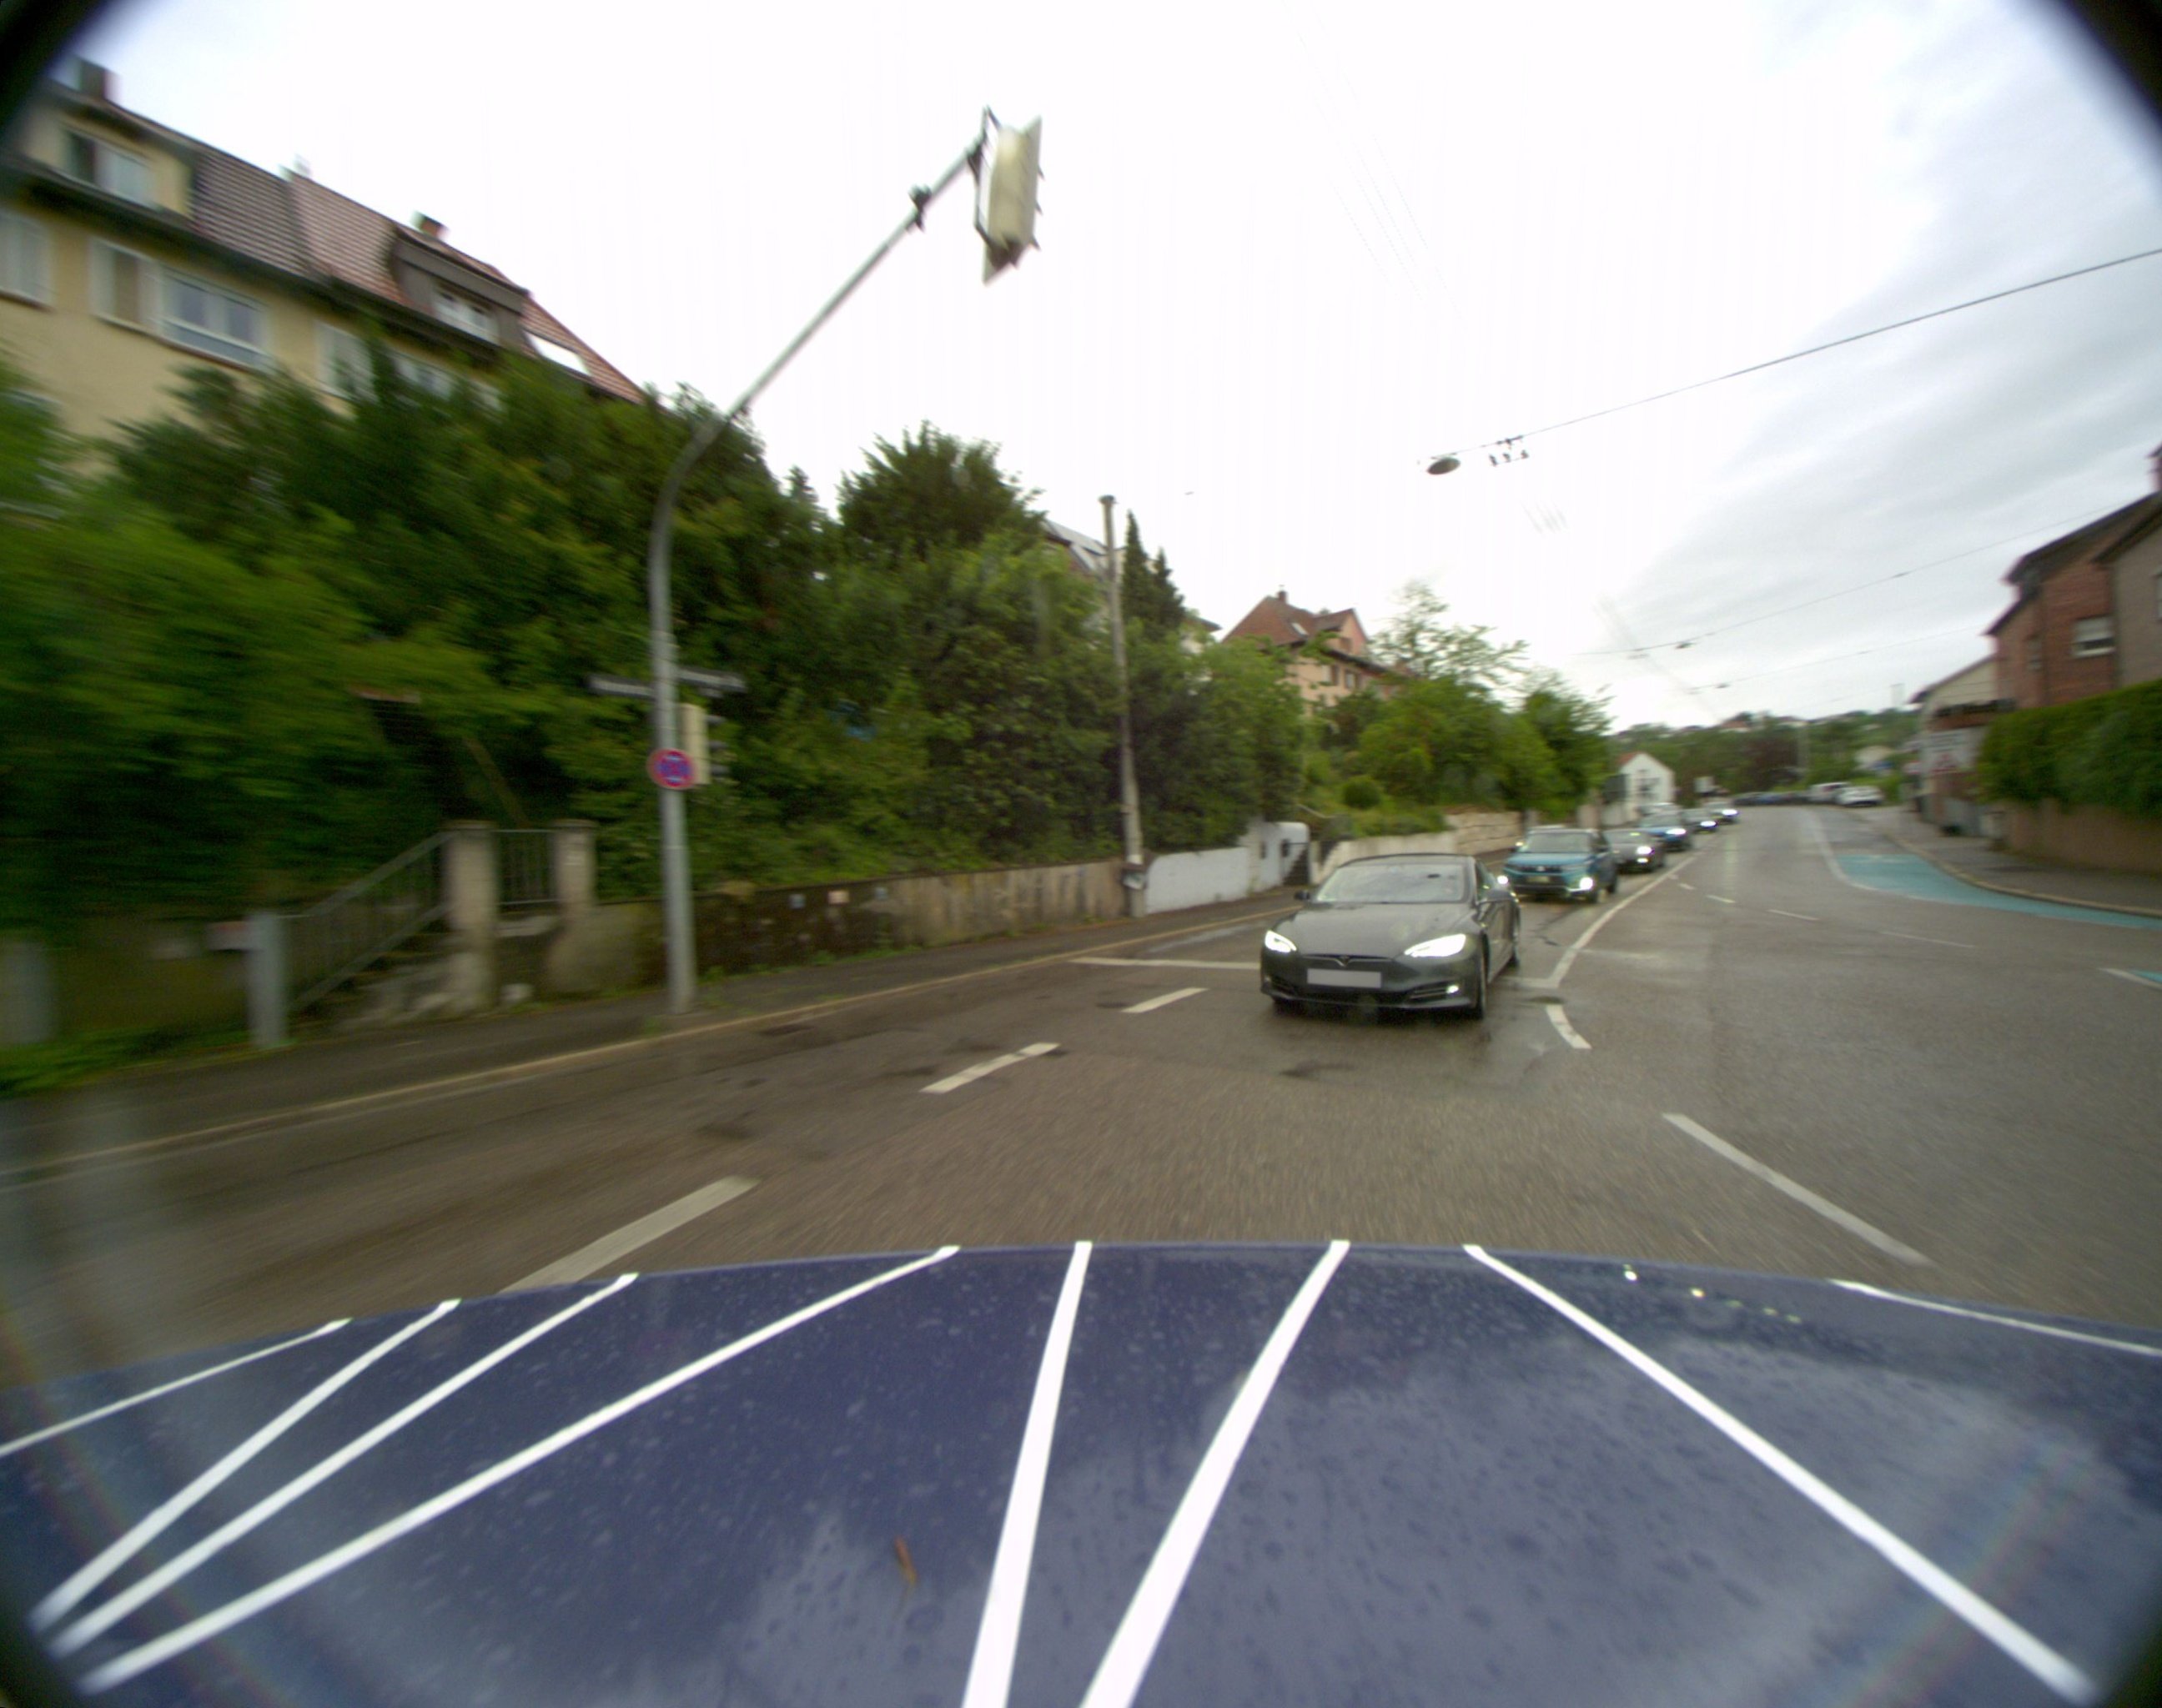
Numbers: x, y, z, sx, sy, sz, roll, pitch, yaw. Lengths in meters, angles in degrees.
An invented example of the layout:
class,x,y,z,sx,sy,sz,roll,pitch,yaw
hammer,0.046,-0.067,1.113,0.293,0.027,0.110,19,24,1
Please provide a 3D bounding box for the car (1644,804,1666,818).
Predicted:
class,x,y,z,sx,sy,sz,roll,pitch,yaw
car,61.919,-4.654,81.937,1.612,1.391,3.370,-3,2,33

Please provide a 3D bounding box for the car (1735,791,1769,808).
class,x,y,z,sx,sy,sz,roll,pitch,yaw
car,80.639,-6.531,91.335,1.769,1.749,4.330,-3,0,23

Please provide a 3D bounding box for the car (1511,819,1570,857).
class,x,y,z,sx,sy,sz,roll,pitch,yaw
car,20.214,-0.730,33.379,1.549,1.443,3.371,-3,2,42

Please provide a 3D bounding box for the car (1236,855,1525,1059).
class,x,y,z,sx,sy,sz,roll,pitch,yaw
car,3.409,0.823,8.041,1.832,1.384,4.332,-3,0,35

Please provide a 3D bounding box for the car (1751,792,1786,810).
class,x,y,z,sx,sy,sz,roll,pitch,yaw
car,78.647,-6.055,86.916,1.769,1.749,4.331,-3,0,26

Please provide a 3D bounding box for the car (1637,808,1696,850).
class,x,y,z,sx,sy,sz,roll,pitch,yaw
car,24.877,-1.076,32.244,1.754,1.640,4.049,-1,2,40

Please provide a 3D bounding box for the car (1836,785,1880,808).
class,x,y,z,sx,sy,sz,roll,pitch,yaw
car,61.986,-4.541,60.668,1.945,1.600,4.458,-3,1,39

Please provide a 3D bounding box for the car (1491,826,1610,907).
class,x,y,z,sx,sy,sz,roll,pitch,yaw
car,10.831,0.224,17.391,1.797,1.600,4.049,-3,1,38

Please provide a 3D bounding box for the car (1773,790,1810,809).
class,x,y,z,sx,sy,sz,roll,pitch,yaw
car,76.320,-5.858,81.673,1.769,1.749,4.331,-3,0,29

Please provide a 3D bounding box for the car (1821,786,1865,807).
class,x,y,z,sx,sy,sz,roll,pitch,yaw
car,65.987,-4.961,65.858,1.945,1.600,4.458,-3,1,36

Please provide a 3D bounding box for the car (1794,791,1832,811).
class,x,y,z,sx,sy,sz,roll,pitch,yaw
car,73.700,-5.315,76.558,1.769,1.749,4.331,-3,0,32

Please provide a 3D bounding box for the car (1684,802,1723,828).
class,x,y,z,sx,sy,sz,roll,pitch,yaw
car,36.980,-2.297,45.134,1.754,1.452,4.049,-1,2,40

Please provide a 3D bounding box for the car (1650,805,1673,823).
class,x,y,z,sx,sy,sz,roll,pitch,yaw
car,52.887,-3.648,69.227,1.611,1.391,3.371,-3,2,38

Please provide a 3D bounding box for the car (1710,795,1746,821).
class,x,y,z,sx,sy,sz,roll,pitch,yaw
car,46.216,-3.271,54.333,1.755,1.639,4.049,-5,-1,40

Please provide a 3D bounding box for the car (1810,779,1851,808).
class,x,y,z,sx,sy,sz,roll,pitch,yaw
car,70.634,-5.683,71.667,2.007,2.442,4.458,-3,1,36

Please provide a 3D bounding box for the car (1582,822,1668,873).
class,x,y,z,sx,sy,sz,roll,pitch,yaw
car,17.138,-0.250,23.861,1.754,1.452,4.049,-1,2,42
